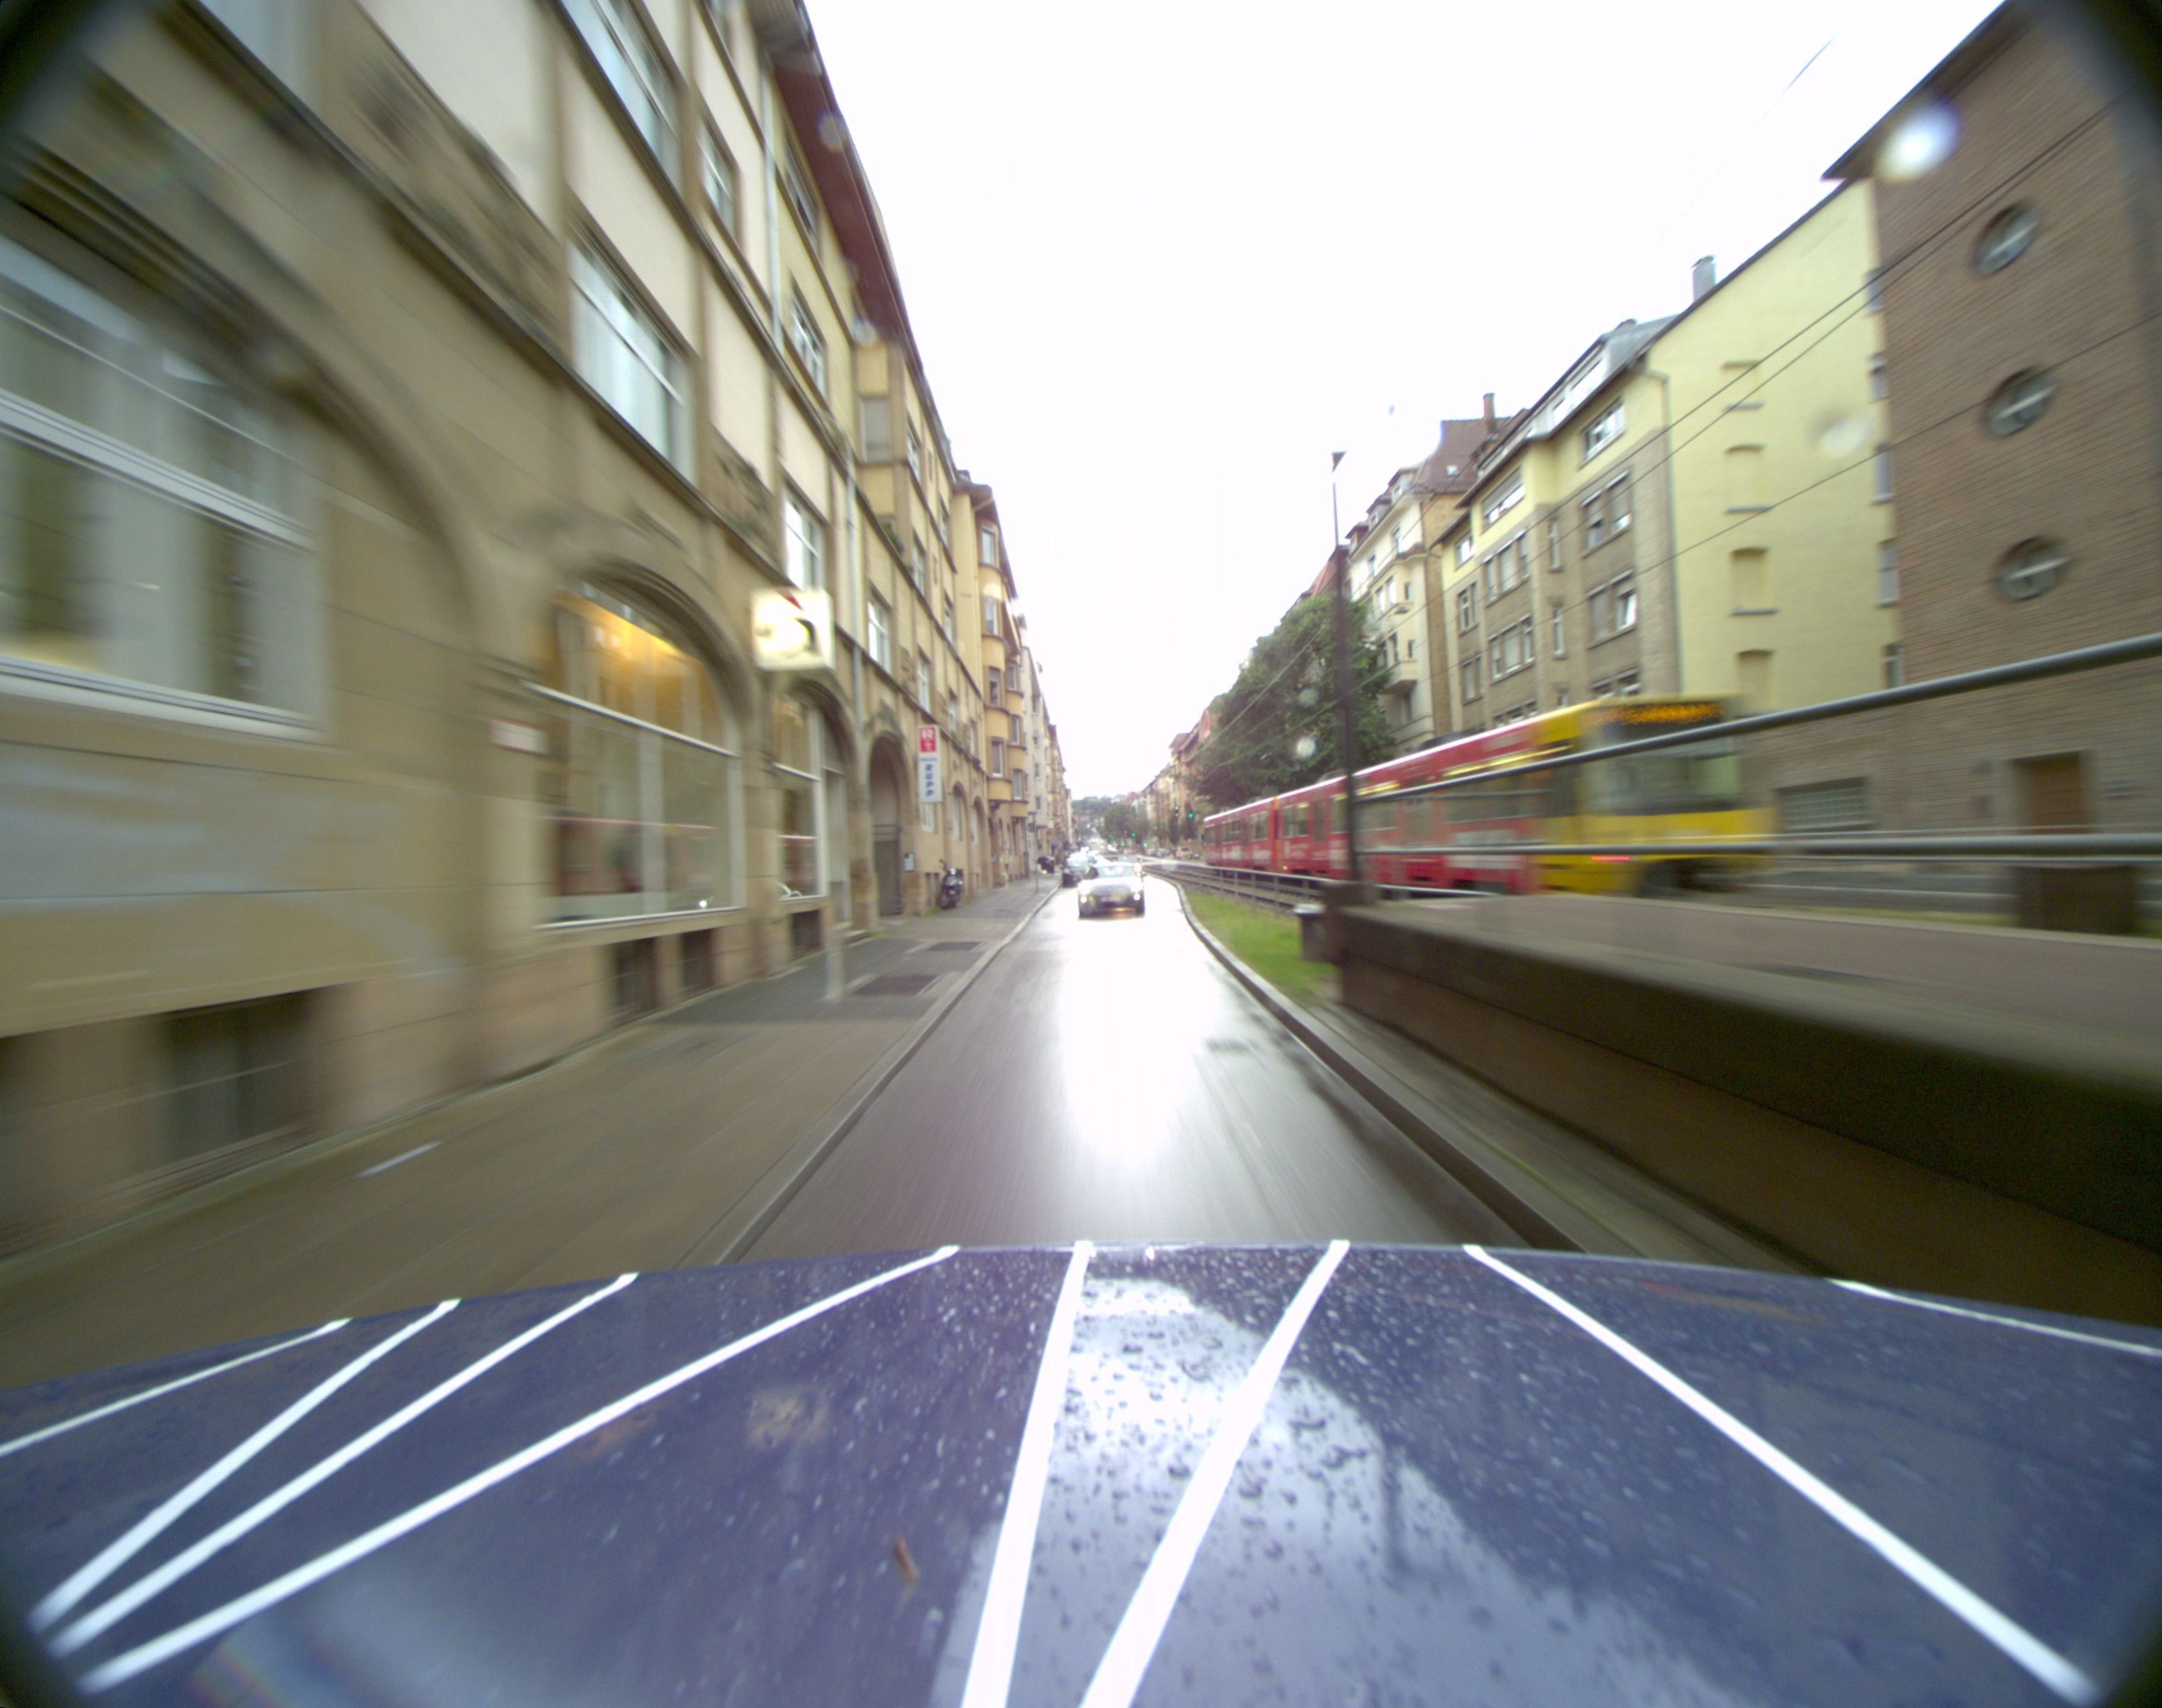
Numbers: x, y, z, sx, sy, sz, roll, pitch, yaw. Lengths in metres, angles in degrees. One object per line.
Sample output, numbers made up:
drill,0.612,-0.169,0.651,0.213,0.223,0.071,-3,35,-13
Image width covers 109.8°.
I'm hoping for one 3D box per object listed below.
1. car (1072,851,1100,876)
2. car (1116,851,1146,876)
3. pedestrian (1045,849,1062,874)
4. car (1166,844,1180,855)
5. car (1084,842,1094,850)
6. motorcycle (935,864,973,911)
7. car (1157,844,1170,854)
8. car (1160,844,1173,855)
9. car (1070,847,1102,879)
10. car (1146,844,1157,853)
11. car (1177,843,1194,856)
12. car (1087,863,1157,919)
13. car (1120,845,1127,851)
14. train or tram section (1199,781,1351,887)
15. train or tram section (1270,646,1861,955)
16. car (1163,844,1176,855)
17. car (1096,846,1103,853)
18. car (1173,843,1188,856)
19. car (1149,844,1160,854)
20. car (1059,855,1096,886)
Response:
car,0.360,0.608,51.040,1.648,1.536,4.028,-2,0,2
car,3.071,0.545,47.254,1.689,1.451,3.299,-1,1,1
pedestrian,-1.974,0.549,54.250,1.125,1.703,1.101,-3,1,-1
car,15.909,-0.774,131.890,1.998,1.958,4.000,-2,0,1
car,1.689,-1.764,166.657,1.998,1.761,4.000,-3,1,3
motorcycle,-3.598,0.933,21.684,0.692,1.230,1.779,3,0,1
car,16.045,-0.940,148.077,1.998,1.958,4.000,-2,0,1
car,16.027,-0.881,142.037,1.998,1.958,4.000,-2,0,1
car,0.340,0.510,46.339,1.741,1.788,4.265,-2,0,2
car,16.002,-1.169,172.679,1.998,1.958,4.000,-2,0,1
car,16.173,-0.642,117.468,1.998,1.958,4.000,-2,0,1
car,1.111,0.952,21.184,1.704,1.280,4.196,-2,0,2
car,14.221,-1.894,253.431,1.998,1.958,4.000,-2,0,1
train or tram section,8.914,-0.854,38.585,2.721,3.898,19.295,-3,1,0
train or tram section,8.808,-0.790,19.834,2.721,3.898,19.859,-3,1,0
car,16.000,-0.835,137.489,1.998,1.958,4.000,-2,0,1
car,5.291,-1.253,220.939,1.998,1.958,4.000,-2,0,1
car,16.288,-0.721,124.753,1.998,1.958,4.000,-2,0,1
car,15.904,-1.106,165.313,1.998,1.958,4.000,-2,0,1
car,-0.137,0.812,39.074,1.633,1.443,4.000,-2,0,2
